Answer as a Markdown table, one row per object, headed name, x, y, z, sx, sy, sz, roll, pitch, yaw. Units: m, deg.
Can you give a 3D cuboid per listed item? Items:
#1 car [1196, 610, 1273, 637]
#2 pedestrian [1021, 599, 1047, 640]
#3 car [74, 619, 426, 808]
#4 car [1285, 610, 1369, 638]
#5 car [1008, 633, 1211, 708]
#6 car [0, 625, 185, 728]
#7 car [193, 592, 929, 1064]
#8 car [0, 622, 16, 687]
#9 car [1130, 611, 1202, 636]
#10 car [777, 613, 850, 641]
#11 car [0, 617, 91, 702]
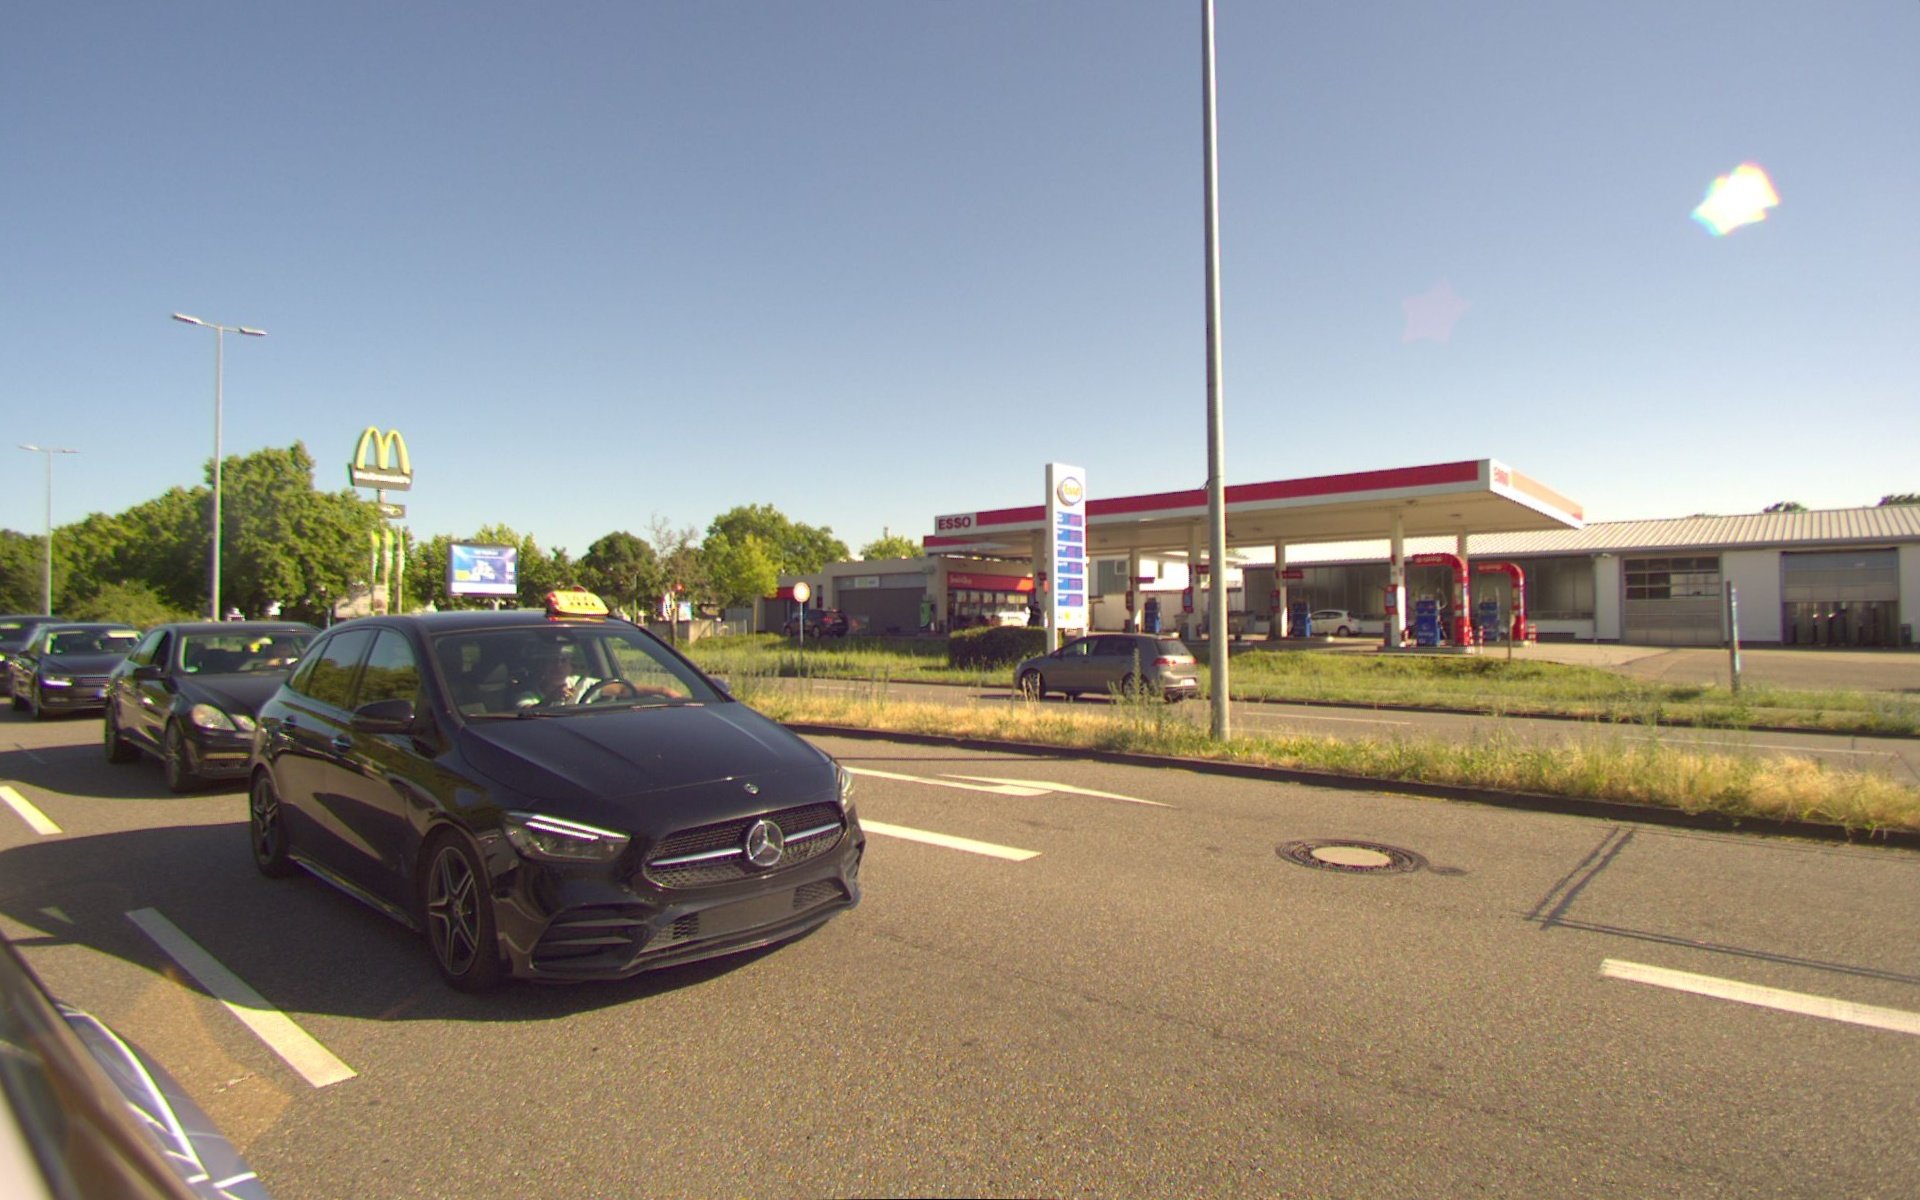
| name | x | y | z | sx | sy | sz | roll | pitch | yaw |
| --- | --- | --- | --- | --- | --- | --- | --- | --- | --- |
| car | 15.850 | 1.364 | 58.582 | 3.975 | 1.420 | 1.661 | -1 | -4 | 40 |
| pedestrian | 3.278 | 0.852 | 44.799 | 0.901 | 1.763 | 0.782 | -1 | 0 | 34 |
| car | -7.254 | 0.938 | 10.158 | 4.400 | 1.449 | 1.845 | -1 | 0 | 40 |
| car | 19.847 | 1.312 | 54.834 | 3.975 | 1.420 | 1.661 | -1 | -4 | 40 |
| car | 3.138 | 1.461 | 21.673 | 3.975 | 1.420 | 1.741 | -1 | -4 | 40 |
| car | -14.444 | 1.163 | 16.690 | 4.284 | 1.438 | 1.775 | -1 | 0 | 40 |
| car | -2.377 | 0.744 | 5.330 | 4.400 | 1.502 | 1.741 | -1 | 0 | 40 |
| car | -25.215 | 1.380 | 25.538 | 3.774 | 1.567 | 1.615 | -1 | -1 | 40 |
| car | 12.448 | 1.408 | 61.376 | 3.975 | 1.420 | 1.661 | -1 | -4 | 40 |
| car | -7.972 | 1.464 | 54.803 | 3.975 | 1.420 | 1.661 | -1 | -4 | 40 |
| car | -19.959 | 1.214 | 21.521 | 3.876 | 1.629 | 1.653 | -2 | -1 | 40 |
